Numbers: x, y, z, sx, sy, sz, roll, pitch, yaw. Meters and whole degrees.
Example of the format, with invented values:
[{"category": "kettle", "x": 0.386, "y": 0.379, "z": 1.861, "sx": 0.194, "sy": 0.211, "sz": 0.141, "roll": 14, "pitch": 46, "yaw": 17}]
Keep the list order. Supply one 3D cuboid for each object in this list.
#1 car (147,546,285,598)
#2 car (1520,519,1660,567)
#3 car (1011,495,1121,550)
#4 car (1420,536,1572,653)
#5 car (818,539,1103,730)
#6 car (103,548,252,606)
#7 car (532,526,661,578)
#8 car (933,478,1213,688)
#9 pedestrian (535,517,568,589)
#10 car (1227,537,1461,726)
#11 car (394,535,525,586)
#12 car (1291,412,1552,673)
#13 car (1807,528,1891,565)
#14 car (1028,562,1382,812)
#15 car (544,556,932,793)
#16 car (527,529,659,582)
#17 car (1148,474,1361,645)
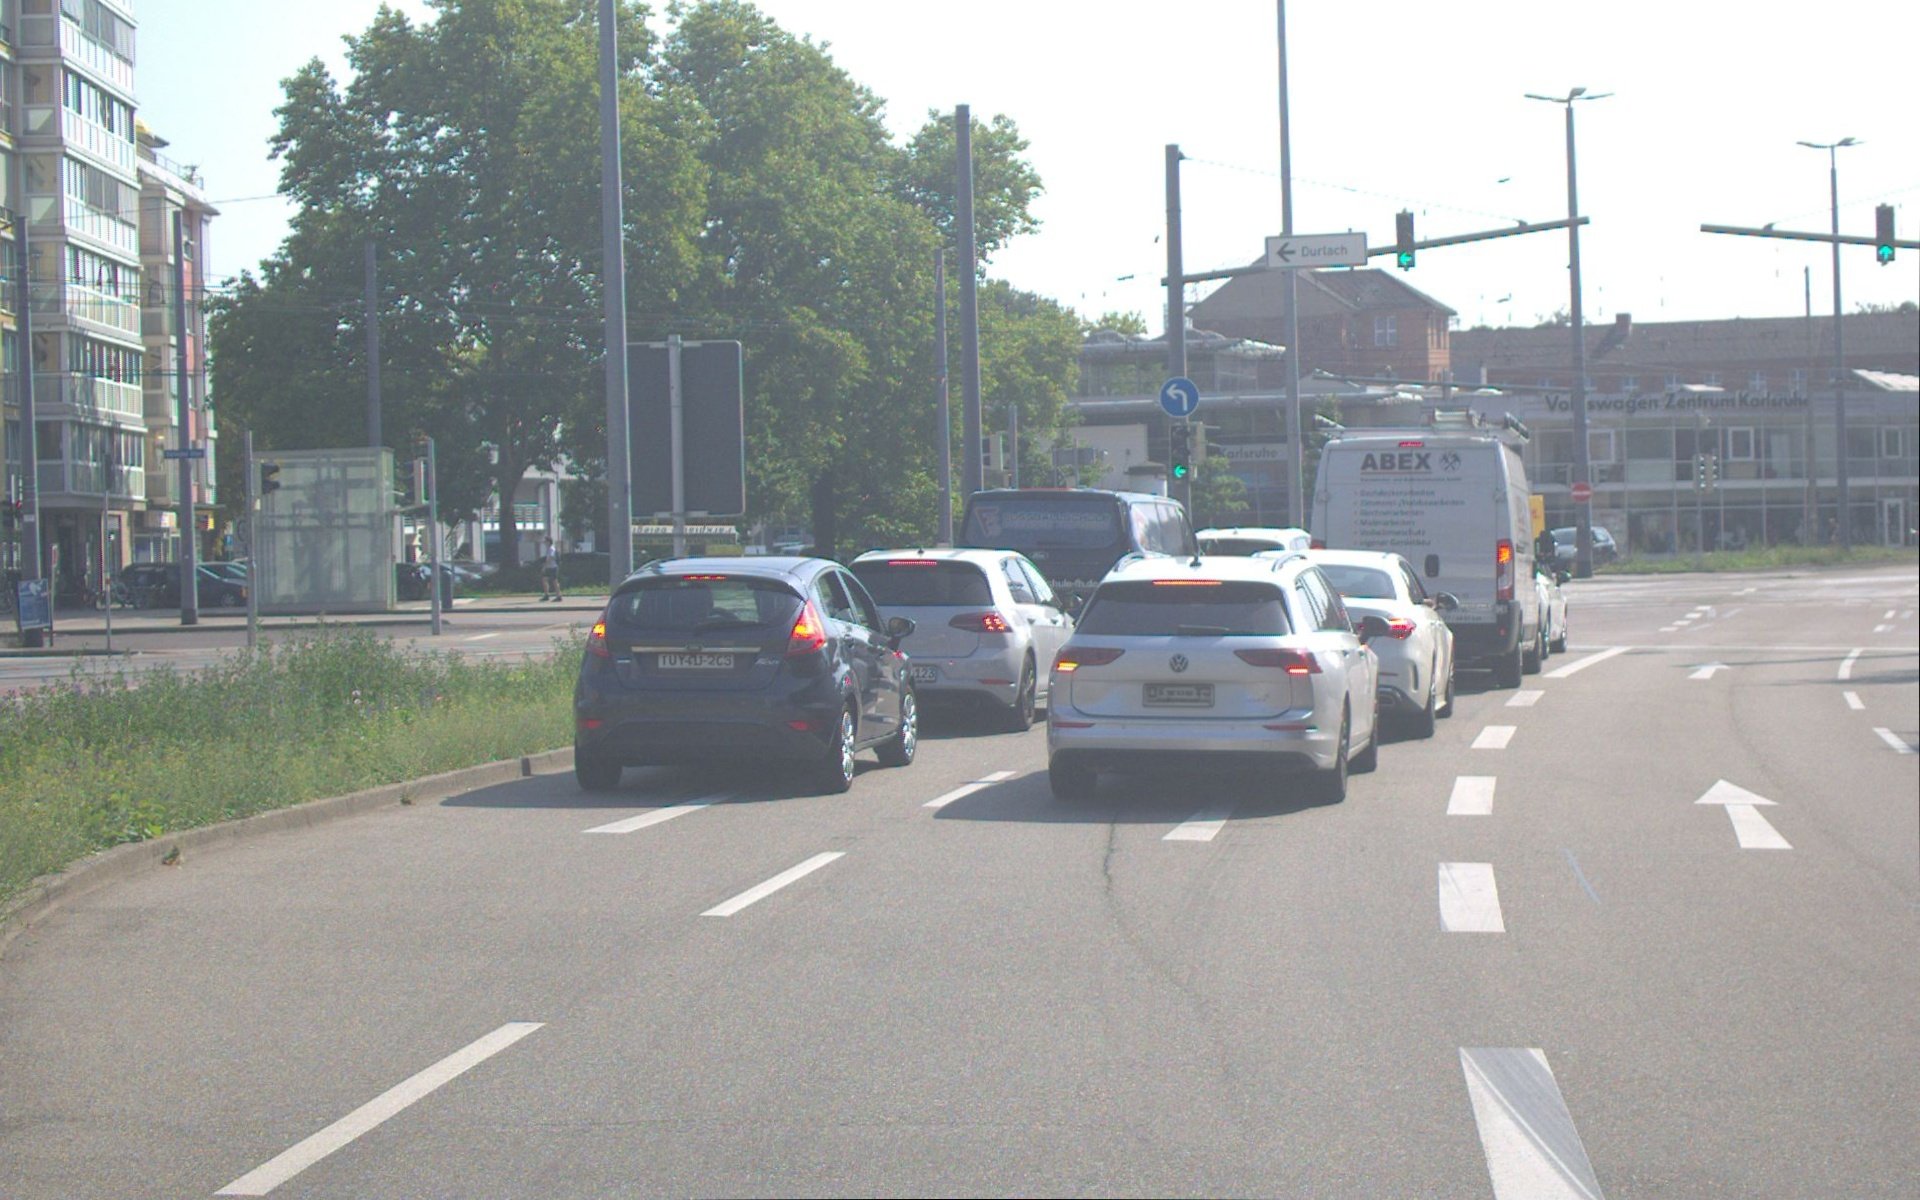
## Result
[{"category": "car", "x": -23.612, "y": -0.890, "z": 109.244, "sx": 3.986, "sy": 1.552, "sz": 1.869, "roll": -1, "pitch": 1, "yaw": -2}, {"category": "car", "x": 18.876, "y": -1.723, "z": 103.153, "sx": 3.966, "sy": 1.337, "sz": 1.930, "roll": -1, "pitch": 1, "yaw": 6}, {"category": "car", "x": 4.125, "y": -3.022, "z": 133.328, "sx": 3.988, "sy": 2.006, "sz": 2.000, "roll": 0, "pitch": 4, "yaw": 9}, {"category": "car", "x": 6.834, "y": -0.101, "z": 43.598, "sx": 1.638, "sy": 1.398, "sz": 3.685, "roll": 0, "pitch": 1, "yaw": 13}, {"category": "car", "x": 0.069, "y": 0.240, "z": 28.191, "sx": 1.490, "sy": 1.410, "sz": 3.646, "roll": 0, "pitch": 2, "yaw": 14}, {"category": "car", "x": -23.324, "y": -0.694, "z": 102.555, "sx": 3.987, "sy": 1.552, "sz": 1.869, "roll": -1, "pitch": 3, "yaw": -1}, {"category": "car", "x": -11.968, "y": -1.597, "z": 113.436, "sx": 3.987, "sy": 1.612, "sz": 1.813, "roll": -1, "pitch": 1, "yaw": 2}, {"category": "car", "x": 1.249, "y": -0.198, "z": 35.308, "sx": 2.024, "sy": 2.001, "sz": 4.681, "roll": 0, "pitch": 1, "yaw": 13}, {"category": "pedestrian", "x": -11.572, "y": -1.332, "z": 97.399, "sx": 0.822, "sy": 2.007, "sz": 0.509, "roll": -1, "pitch": 1, "yaw": 1}, {"category": "car", "x": 3.120, "y": 0.215, "z": 27.403, "sx": 1.489, "sy": 1.398, "sz": 3.940, "roll": 0, "pitch": 1, "yaw": 12}, {"category": "car", "x": -16.192, "y": -1.285, "z": 111.362, "sx": 3.986, "sy": 1.552, "sz": 1.728, "roll": -1, "pitch": 1, "yaw": -2}, {"category": "car", "x": 4.908, "y": -0.580, "z": 35.983, "sx": 2.190, "sy": 2.540, "sz": 4.681, "roll": 0, "pitch": 1, "yaw": 14}, {"category": "car", "x": 35.872, "y": -2.163, "z": 138.659, "sx": 1.997, "sy": 1.437, "sz": 3.992, "roll": 0, "pitch": 1, "yaw": 35}, {"category": "car", "x": 1.580, "y": 0.469, "z": 21.002, "sx": 1.686, "sy": 1.383, "sz": 3.632, "roll": 0, "pitch": 1, "yaw": 12}, {"category": "car", "x": -1.325, "y": 0.415, "z": 22.143, "sx": 1.702, "sy": 1.363, "sz": 3.962, "roll": 0, "pitch": 1, "yaw": 8}, {"category": "car", "x": -11.866, "y": -1.459, "z": 111.263, "sx": 3.987, "sy": 1.612, "sz": 1.813, "roll": -1, "pitch": 1, "yaw": 2}, {"category": "car", "x": 3.741, "y": -0.513, "z": 42.871, "sx": 2.024, "sy": 2.001, "sz": 4.681, "roll": 0, "pitch": 1, "yaw": 13}]
